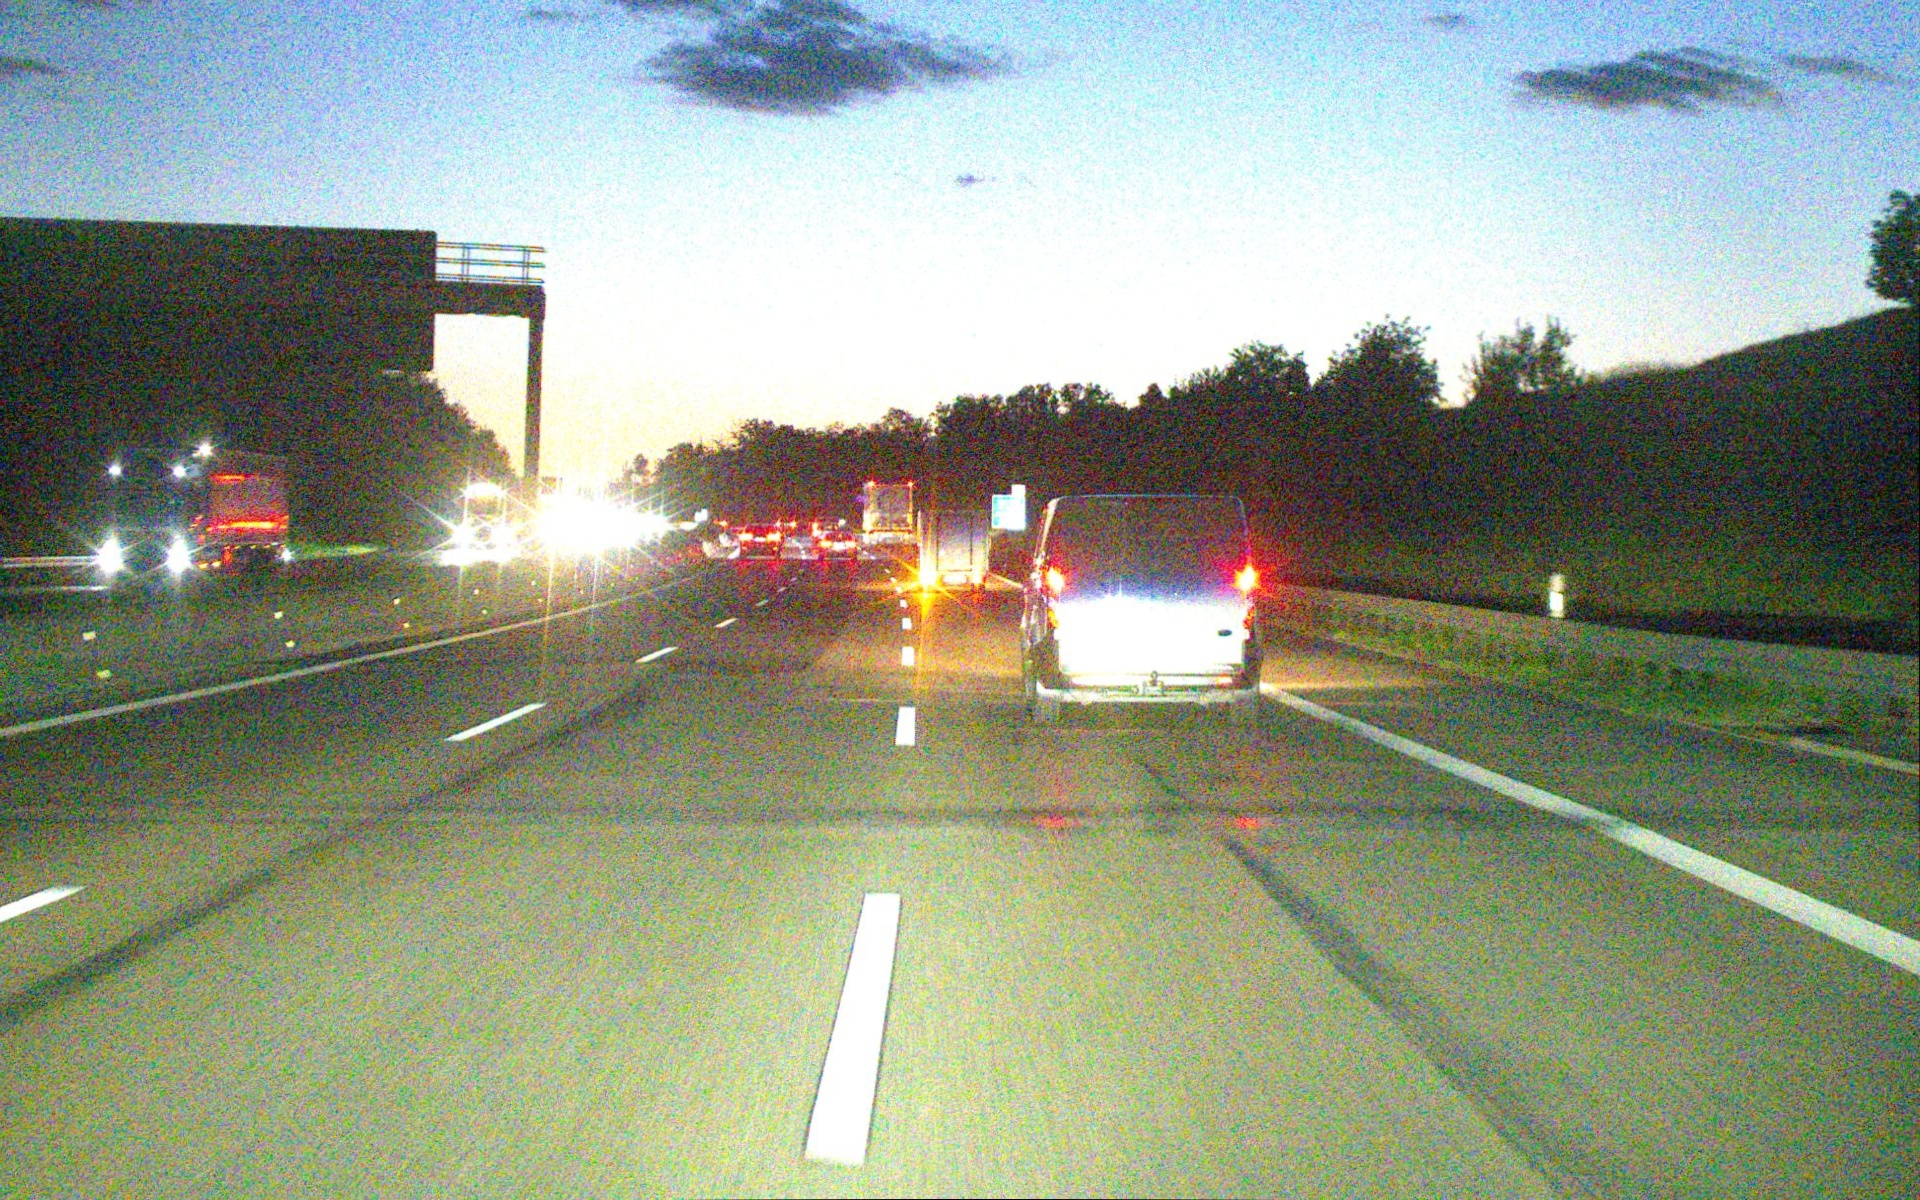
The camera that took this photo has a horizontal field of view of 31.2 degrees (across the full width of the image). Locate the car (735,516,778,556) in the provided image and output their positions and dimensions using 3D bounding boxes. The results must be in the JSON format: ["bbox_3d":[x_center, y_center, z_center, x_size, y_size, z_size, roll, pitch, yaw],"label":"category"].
[{"bbox_3d":[-9.666,-3.045,163.520,1.993,1.810,4.000,0,0,-3],"label":"car"}]

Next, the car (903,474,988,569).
[{"bbox_3d":[-0.454,-2.239,98.287,2.032,2.638,5.726,0,1,-4],"label":"car"}]

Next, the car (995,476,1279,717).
[{"bbox_3d":[1.502,-0.089,31.474,2.115,1.994,5.664,0,1,-2],"label":"car"}]

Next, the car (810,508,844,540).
[{"bbox_3d":[-8.023,-4.571,206.980,1.993,1.788,4.000,0,0,-2],"label":"car"}]

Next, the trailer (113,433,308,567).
[{"bbox_3d":[-23.685,-3.125,109.562,3.430,3.966,14.050,1,1,-1],"label":"trailer"}]

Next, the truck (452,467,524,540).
[{"bbox_3d":[-26.348,-5.359,192.131,3.430,3.966,6.208,1,1,-2],"label":"truck"}]

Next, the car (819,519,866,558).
[{"bbox_3d":[-5.622,-2.911,163.838,1.993,1.788,4.001,0,0,-5],"label":"car"}]

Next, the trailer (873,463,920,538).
[{"bbox_3d":[-4.132,-6.257,219.979,2.829,4.242,17.049,0,0,-2],"label":"trailer"}]

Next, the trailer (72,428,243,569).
[{"bbox_3d":[-23.509,-2.944,101.129,3.430,3.966,7.353,1,1,-1],"label":"trailer"}]
